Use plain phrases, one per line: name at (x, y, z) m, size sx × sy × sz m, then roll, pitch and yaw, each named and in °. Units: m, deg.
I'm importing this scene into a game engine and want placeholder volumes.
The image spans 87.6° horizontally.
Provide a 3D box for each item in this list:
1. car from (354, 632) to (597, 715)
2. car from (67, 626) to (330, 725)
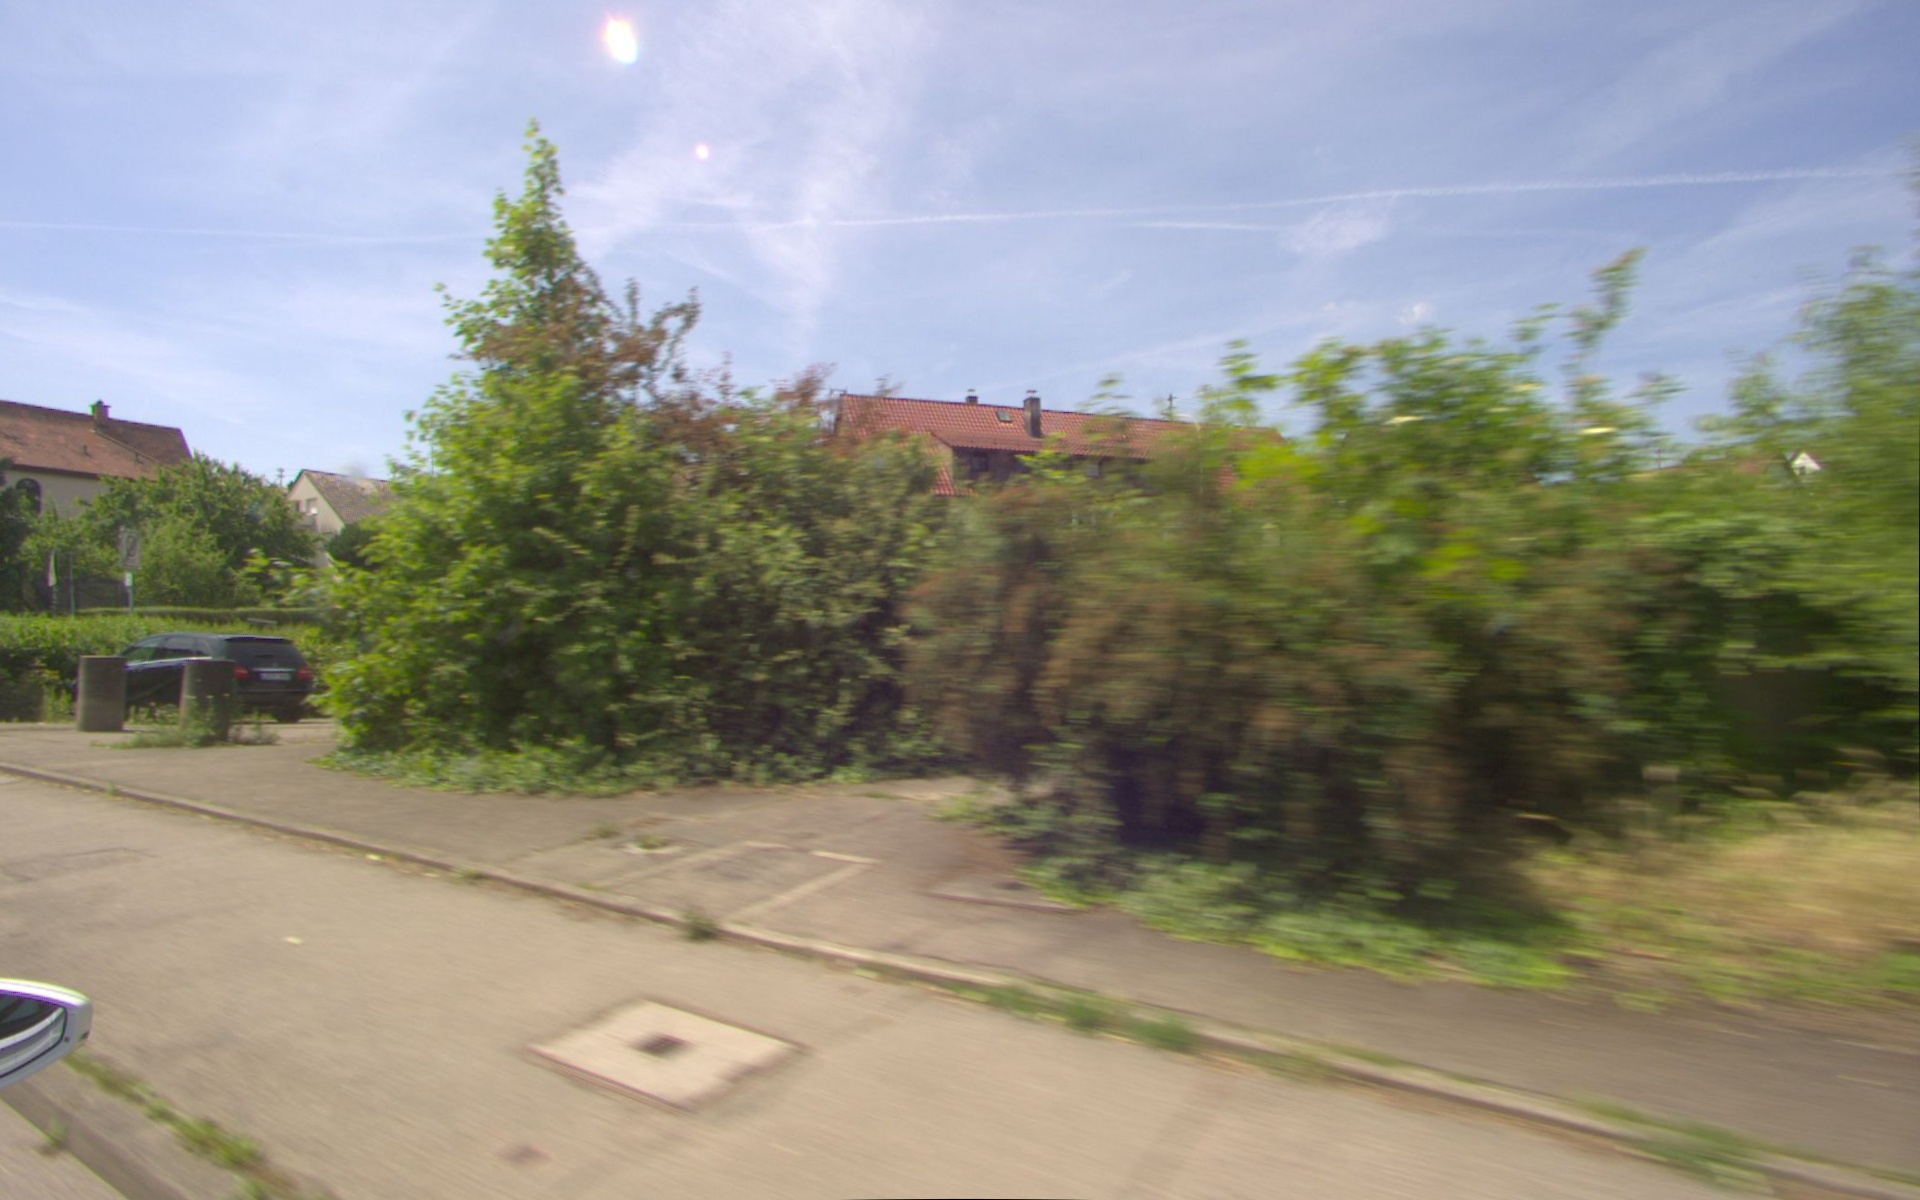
car at (-9.328, 1.423, 19.425) m, size 4.007 × 1.485 × 1.625 m, roll -1°, pitch -3°, yaw 7°
car at (-13.212, 1.305, 17.411) m, size 3.994 × 1.570 × 1.713 m, roll -2°, pitch -3°, yaw 19°
